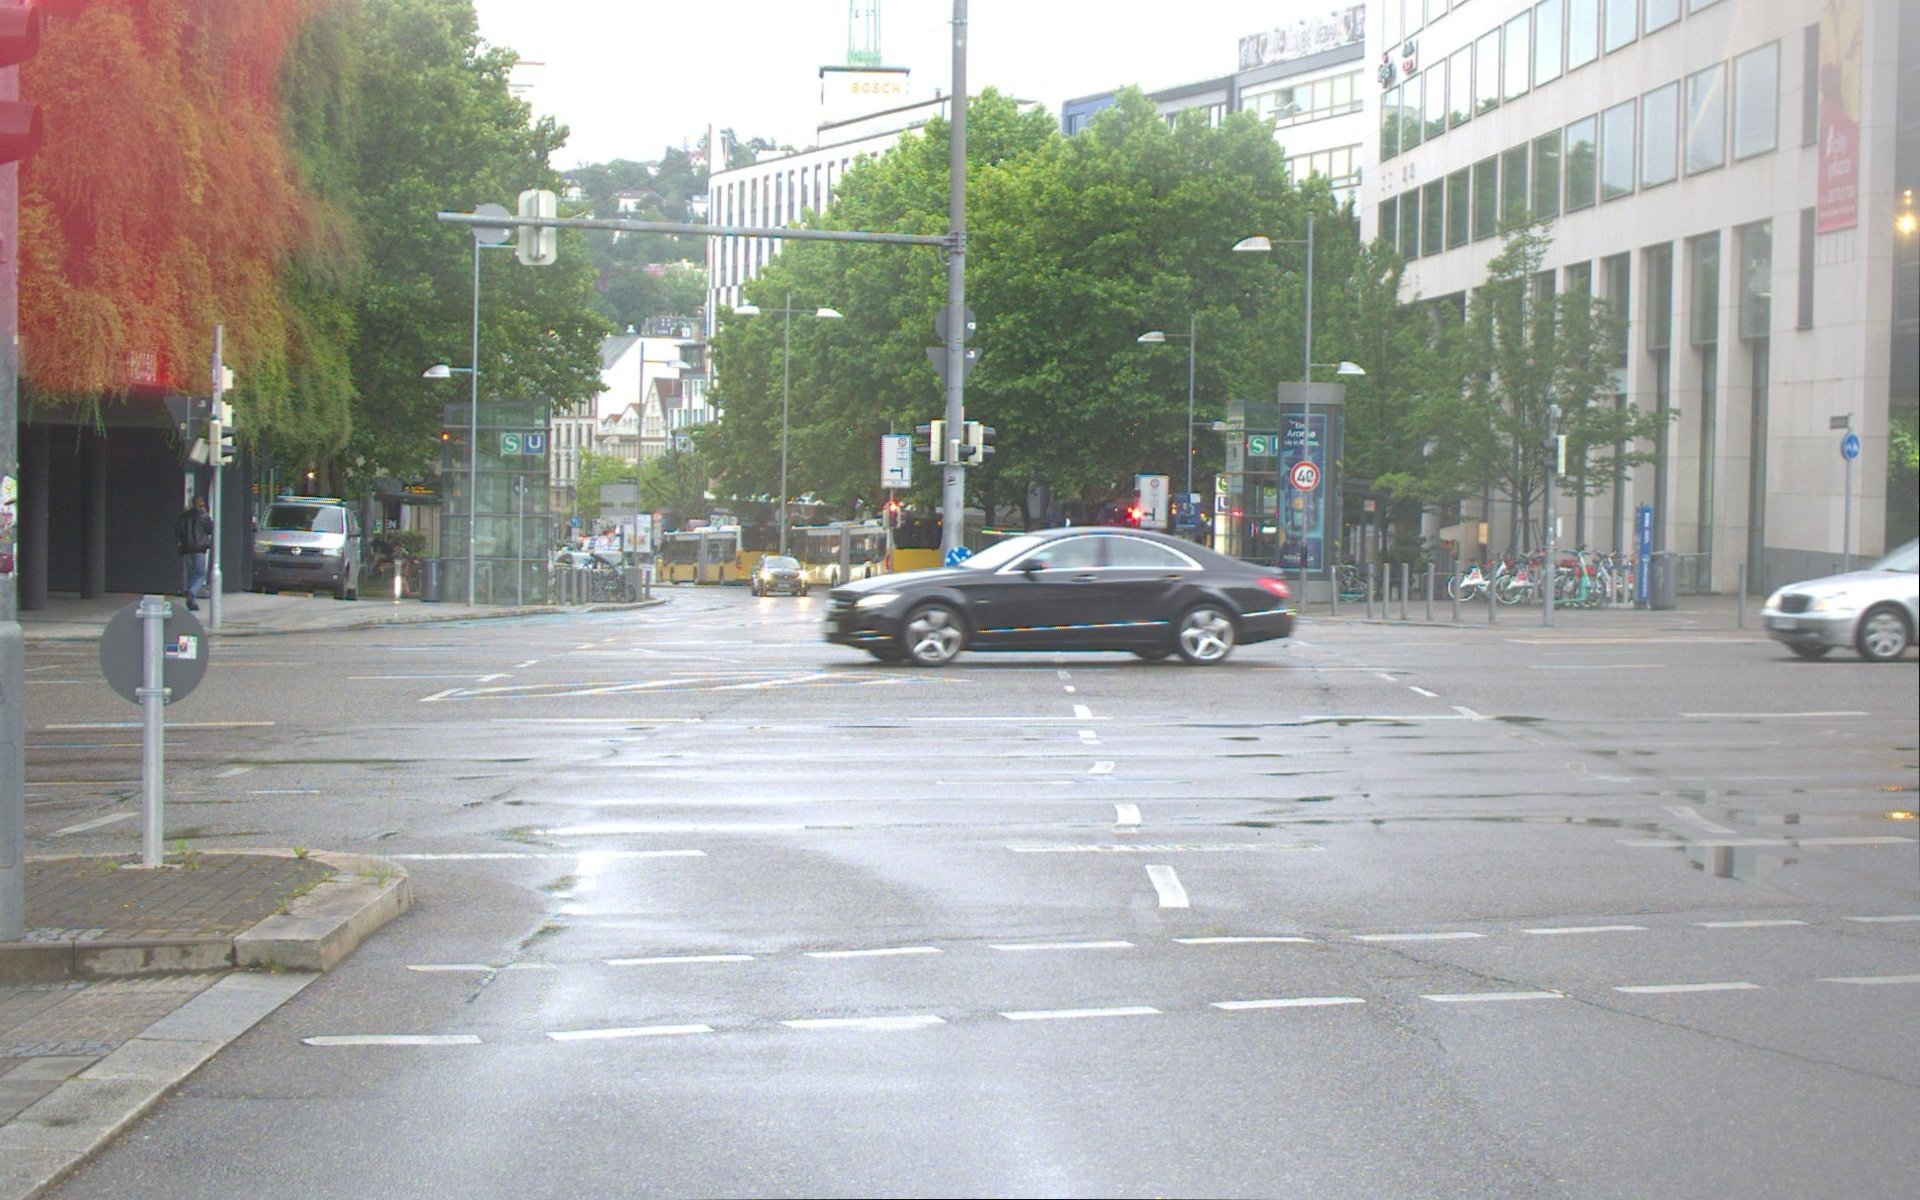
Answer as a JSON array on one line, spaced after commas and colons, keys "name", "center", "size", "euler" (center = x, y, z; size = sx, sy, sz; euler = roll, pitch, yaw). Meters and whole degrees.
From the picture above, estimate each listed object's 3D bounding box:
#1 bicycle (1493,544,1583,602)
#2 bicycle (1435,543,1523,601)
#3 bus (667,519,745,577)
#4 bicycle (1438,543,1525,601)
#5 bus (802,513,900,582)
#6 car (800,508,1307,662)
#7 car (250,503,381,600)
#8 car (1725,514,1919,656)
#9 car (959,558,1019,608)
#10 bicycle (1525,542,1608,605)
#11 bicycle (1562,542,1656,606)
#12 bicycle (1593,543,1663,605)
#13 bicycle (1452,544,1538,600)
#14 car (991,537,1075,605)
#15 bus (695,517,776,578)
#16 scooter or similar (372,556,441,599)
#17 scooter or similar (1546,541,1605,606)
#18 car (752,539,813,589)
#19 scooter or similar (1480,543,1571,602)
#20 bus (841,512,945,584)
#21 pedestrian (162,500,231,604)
[{"name": "bicycle", "center": [12.032, -0.567, 71.599], "size": [1.777, 1.190, 0.586], "euler": [1, 0, 2]}, {"name": "bicycle", "center": [10.985, -0.593, 72.768], "size": [1.777, 1.190, 0.586], "euler": [1, 0, 2]}, {"name": "bus", "center": [-13.360, -2.766, 180.324], "size": [2.627, 2.985, 7.451], "euler": [0, 1, -16]}, {"name": "bicycle", "center": [11.133, -0.598, 73.402], "size": [1.777, 1.190, 0.586], "euler": [1, 0, 2]}, {"name": "bus", "center": [-4.903, -2.370, 153.081], "size": [2.627, 2.985, 7.451], "euler": [0, 1, -16]}, {"name": "car", "center": [0.934, -0.132, 35.416], "size": [4.845, 1.472, 2.000], "euler": [1, -1, -14]}, {"name": "car", "center": [-12.768, -0.954, 68.324], "size": [1.870, 1.833, 4.000], "euler": [1, 1, -1]}, {"name": "car", "center": [11.080, -0.176, 37.935], "size": [4.717, 1.472, 2.001], "euler": [0, 2, -14]}, {"name": "car", "center": [0.877, -0.529, 106.718], "size": [1.781, 1.503, 4.000], "euler": [1, 1, -1]}, {"name": "bicycle", "center": [11.701, -0.519, 66.389], "size": [0.584, 1.190, 1.784], "euler": [1, 1, -28]}, {"name": "bicycle", "center": [12.244, -0.496, 64.837], "size": [1.624, 1.190, 0.586], "euler": [1, 0, 26]}, {"name": "bicycle", "center": [13.004, -0.507, 66.947], "size": [0.586, 1.190, 1.779], "euler": [1, 1, 38]}, {"name": "bicycle", "center": [11.562, -0.601, 74.320], "size": [1.777, 1.190, 0.586], "euler": [1, 0, 2]}, {"name": "car", "center": [1.661, -0.679, 79.353], "size": [1.781, 1.503, 4.000], "euler": [1, 1, -1]}, {"name": "bus", "center": [-11.345, -2.664, 173.227], "size": [2.627, 2.985, 7.330], "euler": [0, 1, -16]}, {"name": "scooter or similar", "center": [-13.276, -0.543, 82.542], "size": [0.623, 1.001, 1.657], "euler": [1, 1, 38]}, {"name": "scooter or similar", "center": [11.490, -0.500, 64.152], "size": [0.963, 1.190, 0.454], "euler": [1, 1, 40]}, {"name": "car", "center": [-6.560, -1.337, 126.744], "size": [2.164, 1.759, 5.113], "euler": [1, 1, -4]}, {"name": "scooter or similar", "center": [11.678, -0.566, 70.976], "size": [1.777, 1.190, 0.586], "euler": [1, 0, 2]}, {"name": "bus", "center": [-2.890, -2.219, 145.935], "size": [2.627, 2.985, 7.451], "euler": [0, 1, -16]}, {"name": "pedestrian", "center": [-12.287, -0.771, 55.358], "size": [0.933, 1.638, 0.774], "euler": [1, 0, -1]}]
